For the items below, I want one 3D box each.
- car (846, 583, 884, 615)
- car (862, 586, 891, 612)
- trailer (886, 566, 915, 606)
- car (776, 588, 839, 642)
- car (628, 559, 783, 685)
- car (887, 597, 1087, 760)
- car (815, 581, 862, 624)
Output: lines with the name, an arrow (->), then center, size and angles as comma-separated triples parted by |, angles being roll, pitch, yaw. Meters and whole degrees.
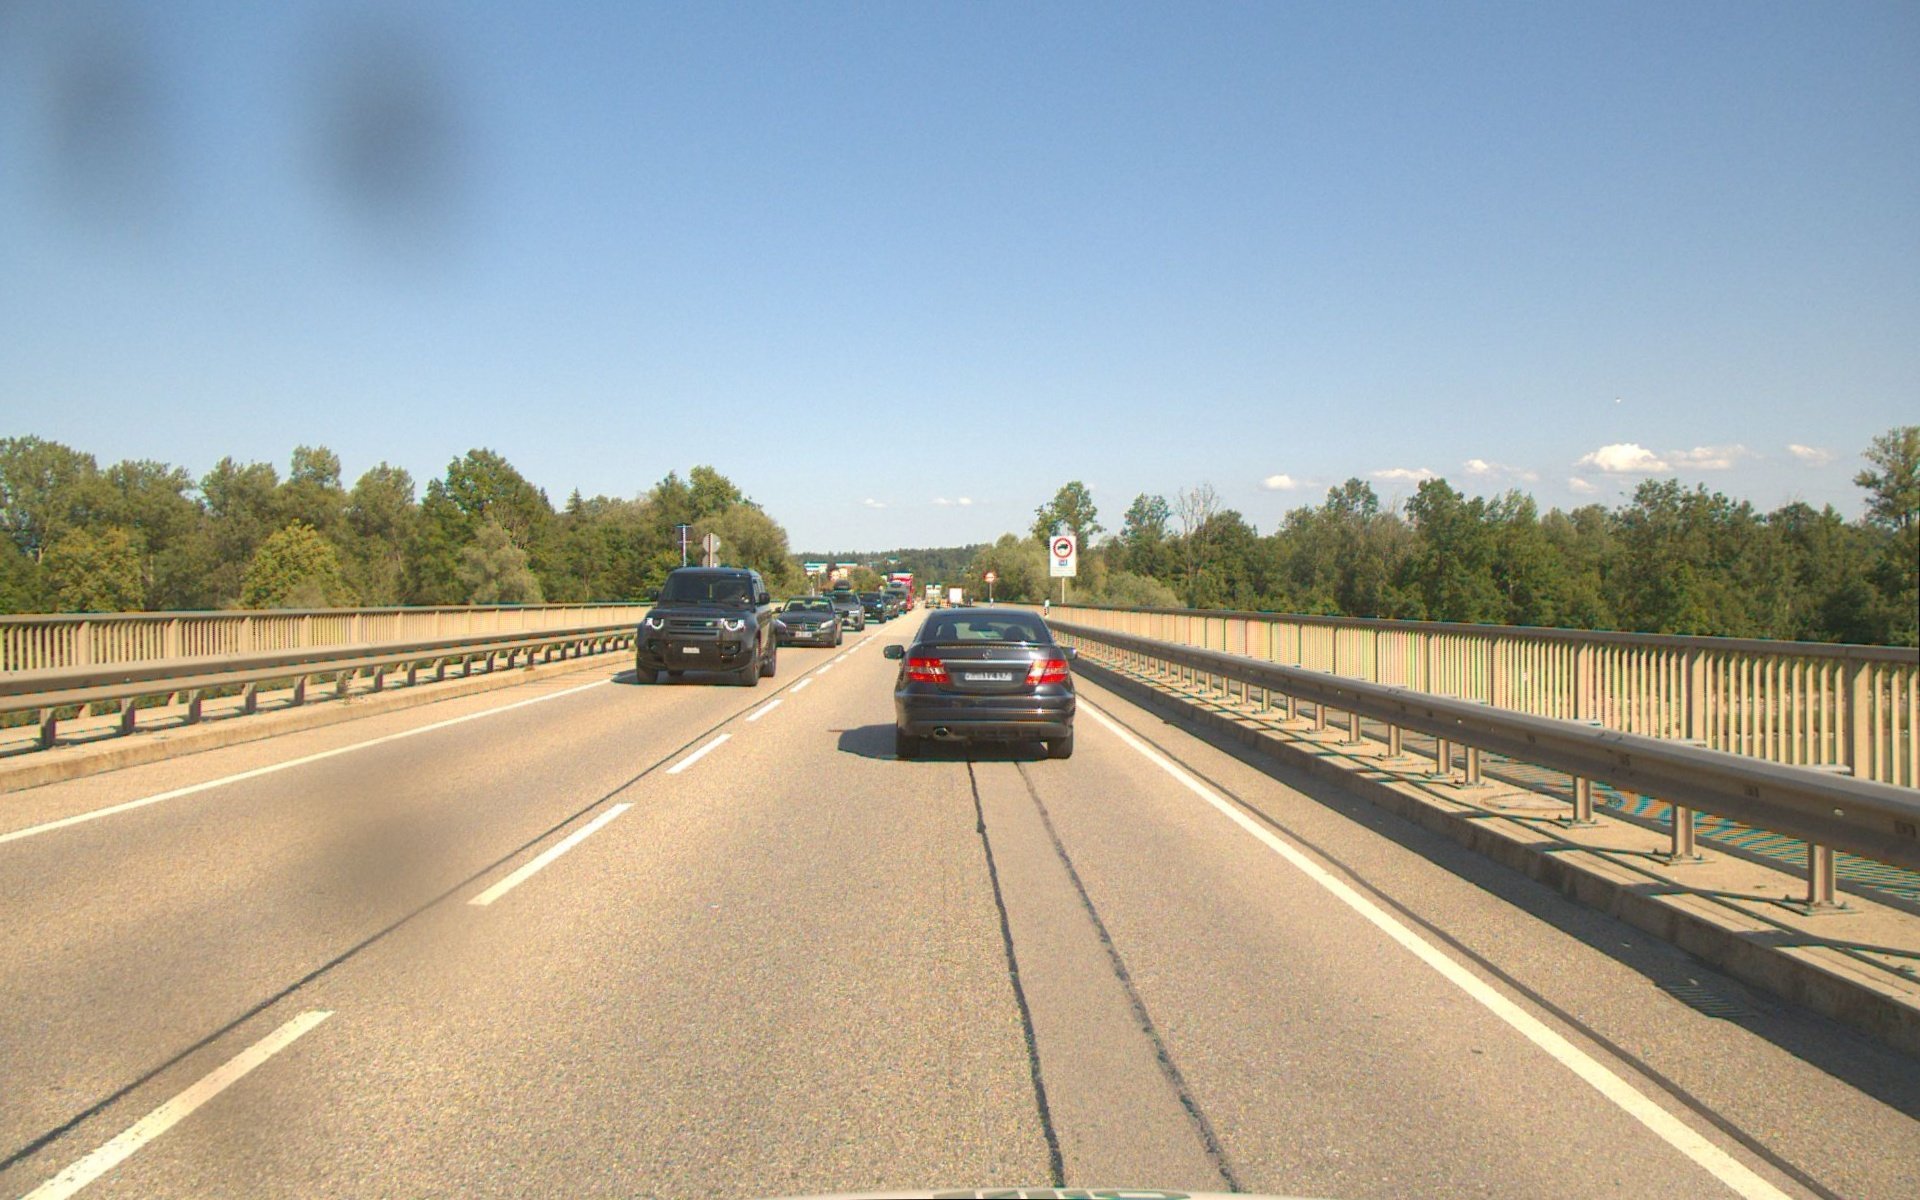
car -> -5.290, -0.079, 92.201 | 2.012, 1.681, 4.719 | 2, 1, -3
car -> -5.468, -0.071, 107.726 | 1.771, 1.605, 4.197 | 1, 0, -4
trailer -> -6.852, -1.539, 189.485 | 2.850, 4.377, 14.291 | 1, 0, -4
car -> -4.409, 0.408, 48.304 | 1.731, 1.472, 4.452 | 1, 0, -4
car -> -4.281, 0.308, 28.571 | 1.996, 1.906, 5.068 | 2, 1, -2
car -> 0.212, 0.690, 16.582 | 1.757, 1.400, 3.999 | 1, 0, -1
car -> -5.133, 0.097, 70.132 | 1.817, 1.752, 4.564 | 1, 0, -2
